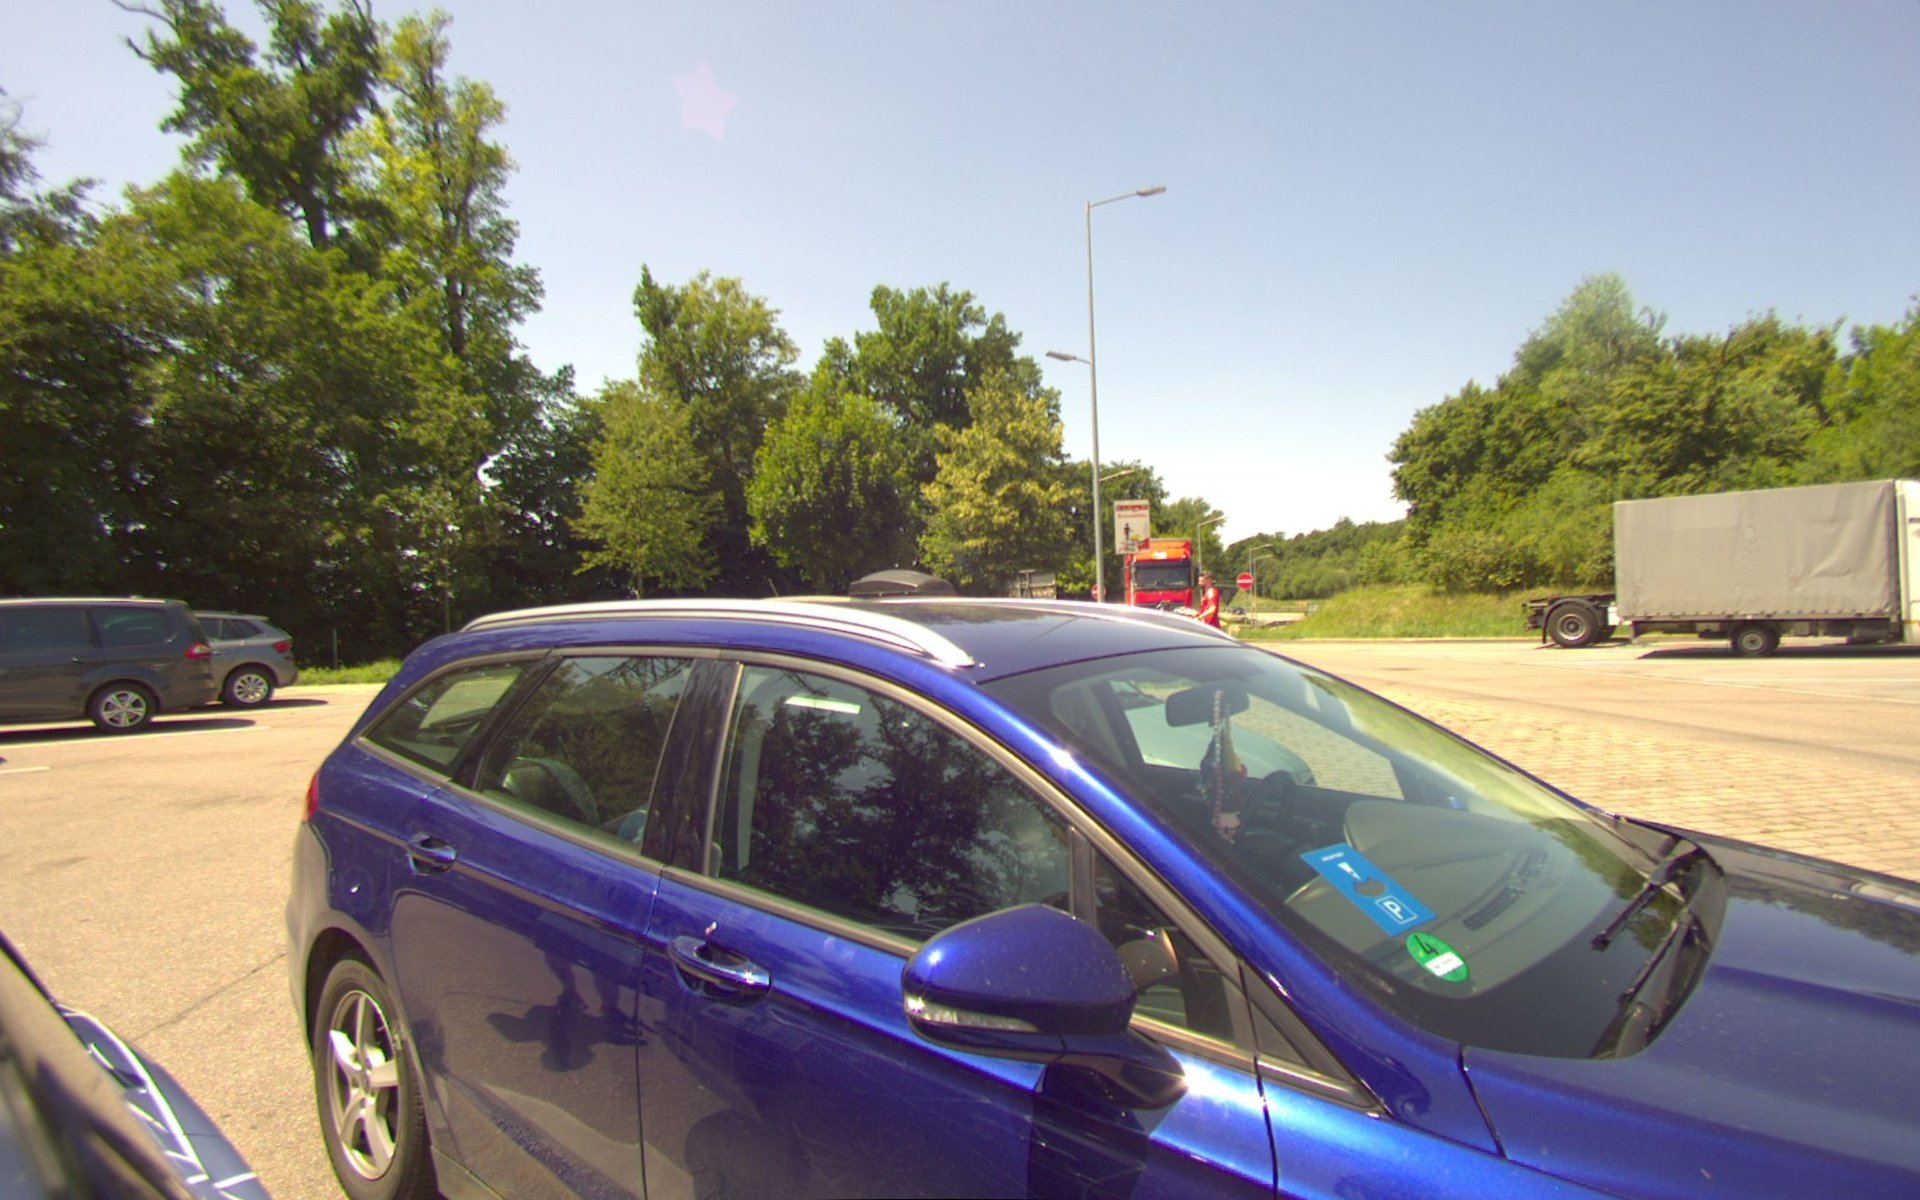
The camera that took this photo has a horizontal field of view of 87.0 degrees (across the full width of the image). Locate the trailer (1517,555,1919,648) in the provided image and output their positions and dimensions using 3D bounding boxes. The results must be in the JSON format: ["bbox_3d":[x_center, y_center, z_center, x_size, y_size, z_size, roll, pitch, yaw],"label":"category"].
[{"bbox_3d":[17.258,0.115,23.381,7.295,1.701,2.235,-4,-1,43],"label":"trailer"}]

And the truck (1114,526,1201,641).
[{"bbox_3d":[8.861,-0.607,44.558,3.101,4.150,15.339,-1,0,12],"label":"truck"}]

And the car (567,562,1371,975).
[{"bbox_3d":[-0.253,0.688,5.825,4.490,1.511,1.754,-3,-1,40],"label":"car"}]

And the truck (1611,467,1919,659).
[{"bbox_3d":[16.832,-0.665,18.953,7.295,3.259,2.709,-4,-1,43],"label":"truck"}]

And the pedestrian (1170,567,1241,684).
[{"bbox_3d":[3.789,0.393,15.613,0.833,1.746,0.667,-2,-1,39],"label":"pedestrian"}]

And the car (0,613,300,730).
[{"bbox_3d":[-12.592,0.999,15.452,1.687,1.515,3.943,-1,0,43],"label":"car"}]

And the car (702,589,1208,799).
[{"bbox_3d":[-0.240,0.743,9.199,4.490,1.437,1.754,-3,-1,40],"label":"car"}]

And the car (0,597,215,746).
[{"bbox_3d":[-11.937,0.854,12.288,4.553,1.725,1.741,0,-1,-41],"label":"car"}]

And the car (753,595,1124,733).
[{"bbox_3d":[-0.381,0.768,12.746,4.485,1.437,1.756,-3,-1,36],"label":"car"}]

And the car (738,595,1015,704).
[{"bbox_3d":[-1.472,0.819,16.846,4.485,1.562,1.756,-3,-1,36],"label":"car"}]

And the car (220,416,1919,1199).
[{"bbox_3d":[0.259,0.655,2.126,4.490,1.502,1.851,-3,0,40],"label":"car"}]
